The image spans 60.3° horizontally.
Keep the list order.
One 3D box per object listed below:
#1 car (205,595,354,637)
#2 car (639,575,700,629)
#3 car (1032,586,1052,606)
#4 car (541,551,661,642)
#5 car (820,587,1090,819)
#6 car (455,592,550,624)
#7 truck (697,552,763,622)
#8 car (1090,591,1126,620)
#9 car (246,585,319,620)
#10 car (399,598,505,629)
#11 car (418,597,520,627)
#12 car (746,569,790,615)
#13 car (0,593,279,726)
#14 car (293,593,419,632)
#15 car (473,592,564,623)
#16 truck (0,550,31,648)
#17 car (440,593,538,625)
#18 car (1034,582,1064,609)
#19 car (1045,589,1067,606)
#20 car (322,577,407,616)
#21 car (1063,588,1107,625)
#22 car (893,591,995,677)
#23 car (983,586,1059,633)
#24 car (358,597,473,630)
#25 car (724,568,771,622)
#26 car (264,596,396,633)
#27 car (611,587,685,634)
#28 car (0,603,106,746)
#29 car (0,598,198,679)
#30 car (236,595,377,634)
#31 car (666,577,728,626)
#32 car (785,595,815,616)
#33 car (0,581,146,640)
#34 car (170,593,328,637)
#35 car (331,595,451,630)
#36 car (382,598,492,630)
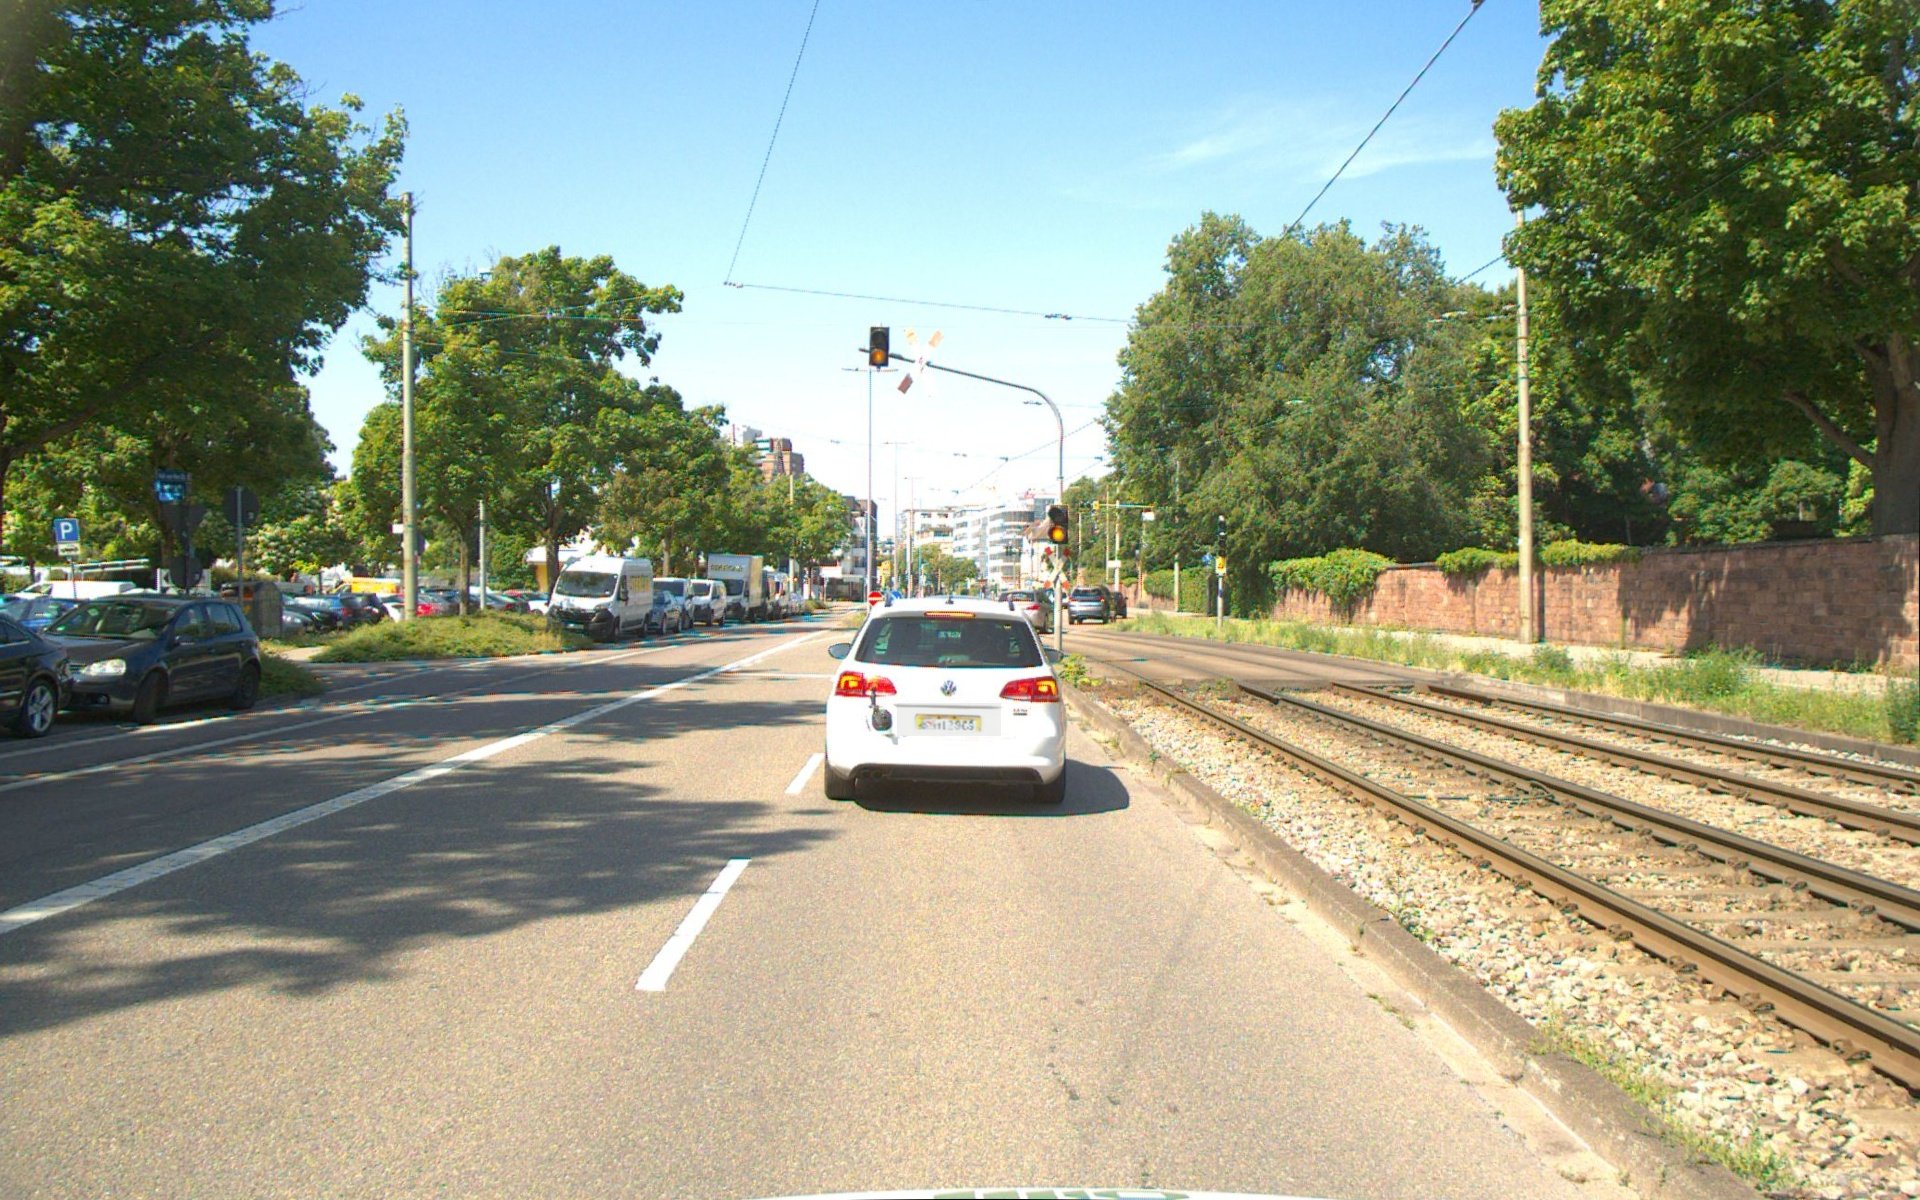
[{"bbox_3d":[-21.147,0.484,51.498,3.907,1.246,1.771,0,0,-2],"label":"car"},{"bbox_3d":[-11.205,0.057,64.118,1.807,1.971,5.189,0,0,-4],"label":"car"},{"bbox_3d":[7.613,-0.355,153.650,1.657,1.844,3.453,2,0,-1],"label":"car"},{"bbox_3d":[-10.943,-0.134,50.966,2.016,2.544,6.309,2,1,2],"label":"car"},{"bbox_3d":[-0.074,0.669,12.869,1.732,1.471,3.912,2,0,-1],"label":"car"},{"bbox_3d":[-21.374,0.368,77.385,3.904,1.469,1.772,0,0,2],"label":"car"},{"bbox_3d":[-10.982,-0.616,79.385,2.308,3.177,6.890,0,0,-1],"label":"truck"},{"bbox_3d":[7.774,0.288,86.765,1.709,1.432,3.916,2,0,7],"label":"car"},{"bbox_3d":[-36.897,0.133,90.113,3.354,1.909,1.552,0,0,-3],"label":"car"},{"bbox_3d":[-21.505,0.563,70.125,3.904,1.246,1.772,0,0,2],"label":"car"},{"bbox_3d":[-21.406,0.522,72.246,3.904,1.246,1.772,0,0,2],"label":"car"},{"bbox_3d":[-10.932,-0.449,94.525,1.806,2.538,5.856,0,0,0],"label":"car"},{"bbox_3d":[-10.328,0.678,21.042,1.608,1.476,4.004,2,0,0],"label":"car"},{"bbox_3d":[-21.902,0.432,60.095,3.904,1.373,1.772,0,0,2],"label":"car"},{"bbox_3d":[-21.317,0.345,79.931,3.904,1.469,1.772,0,0,2],"label":"car"},{"bbox_3d":[-33.568,-0.200,52.213,6.999,3.071,2.230,3,0,-3],"label":"truck"},{"bbox_3d":[-21.311,0.404,74.883,3.904,1.426,1.772,0,0,2],"label":"car"},{"bbox_3d":[8.673,-0.430,161.975,2.413,2.542,5.909,2,0,-1],"label":"car"},{"bbox_3d":[8.097,-0.190,139.486,1.549,1.370,3.453,2,0,-1],"label":"car"},{"bbox_3d":[-34.252,-0.179,95.224,4.175,2.049,1.997,2,-1,-7],"label":"car"},{"bbox_3d":[5.537,0.282,73.633,1.822,1.539,3.915,2,0,3],"label":"car"},{"bbox_3d":[-0.281,0.576,30.343,1.710,1.412,3.913,2,0,-1],"label":"car"},{"bbox_3d":[2.110,0.311,55.987,1.821,1.441,4.328,2,0,12],"label":"car"},{"bbox_3d":[-21.430,0.538,65.218,3.904,1.246,1.772,0,0,2],"label":"car"},{"bbox_3d":[-11.073,-0.272,86.535,1.806,2.715,5.003,0,0,0],"label":"car"},{"bbox_3d":[-21.850,0.491,57.443,3.904,1.246,1.772,0,0,2],"label":"car"},{"bbox_3d":[-10.772,0.341,57.306,1.806,1.543,4.196,0,0,-1],"label":"car"},{"bbox_3d":[-10.405,0.756,16.211,1.656,1.403,4.781,0,0,-1],"label":"car"},{"bbox_3d":[-18.001,0.779,33.950,3.820,1.432,1.752,-2,1,0],"label":"car"},{"bbox_3d":[-21.418,0.457,54.315,3.904,1.246,1.772,0,0,2],"label":"car"},{"bbox_3d":[-11.135,0.042,70.321,1.806,1.995,5.134,0,0,0],"label":"car"},{"bbox_3d":[-11.113,0.363,115.012,1.744,1.458,4.037,0,0,-1],"label":"car"},{"bbox_3d":[-33.608,0.392,62.482,4.602,2.049,1.998,2,-1,-6],"label":"car"},{"bbox_3d":[-21.093,0.436,49.164,3.907,1.246,1.771,0,0,-2],"label":"car"},{"bbox_3d":[-21.547,0.480,62.753,3.904,1.286,1.772,0,0,2],"label":"car"},{"bbox_3d":[-21.408,0.562,67.790,3.904,1.246,1.772,0,0,2],"label":"car"}]
